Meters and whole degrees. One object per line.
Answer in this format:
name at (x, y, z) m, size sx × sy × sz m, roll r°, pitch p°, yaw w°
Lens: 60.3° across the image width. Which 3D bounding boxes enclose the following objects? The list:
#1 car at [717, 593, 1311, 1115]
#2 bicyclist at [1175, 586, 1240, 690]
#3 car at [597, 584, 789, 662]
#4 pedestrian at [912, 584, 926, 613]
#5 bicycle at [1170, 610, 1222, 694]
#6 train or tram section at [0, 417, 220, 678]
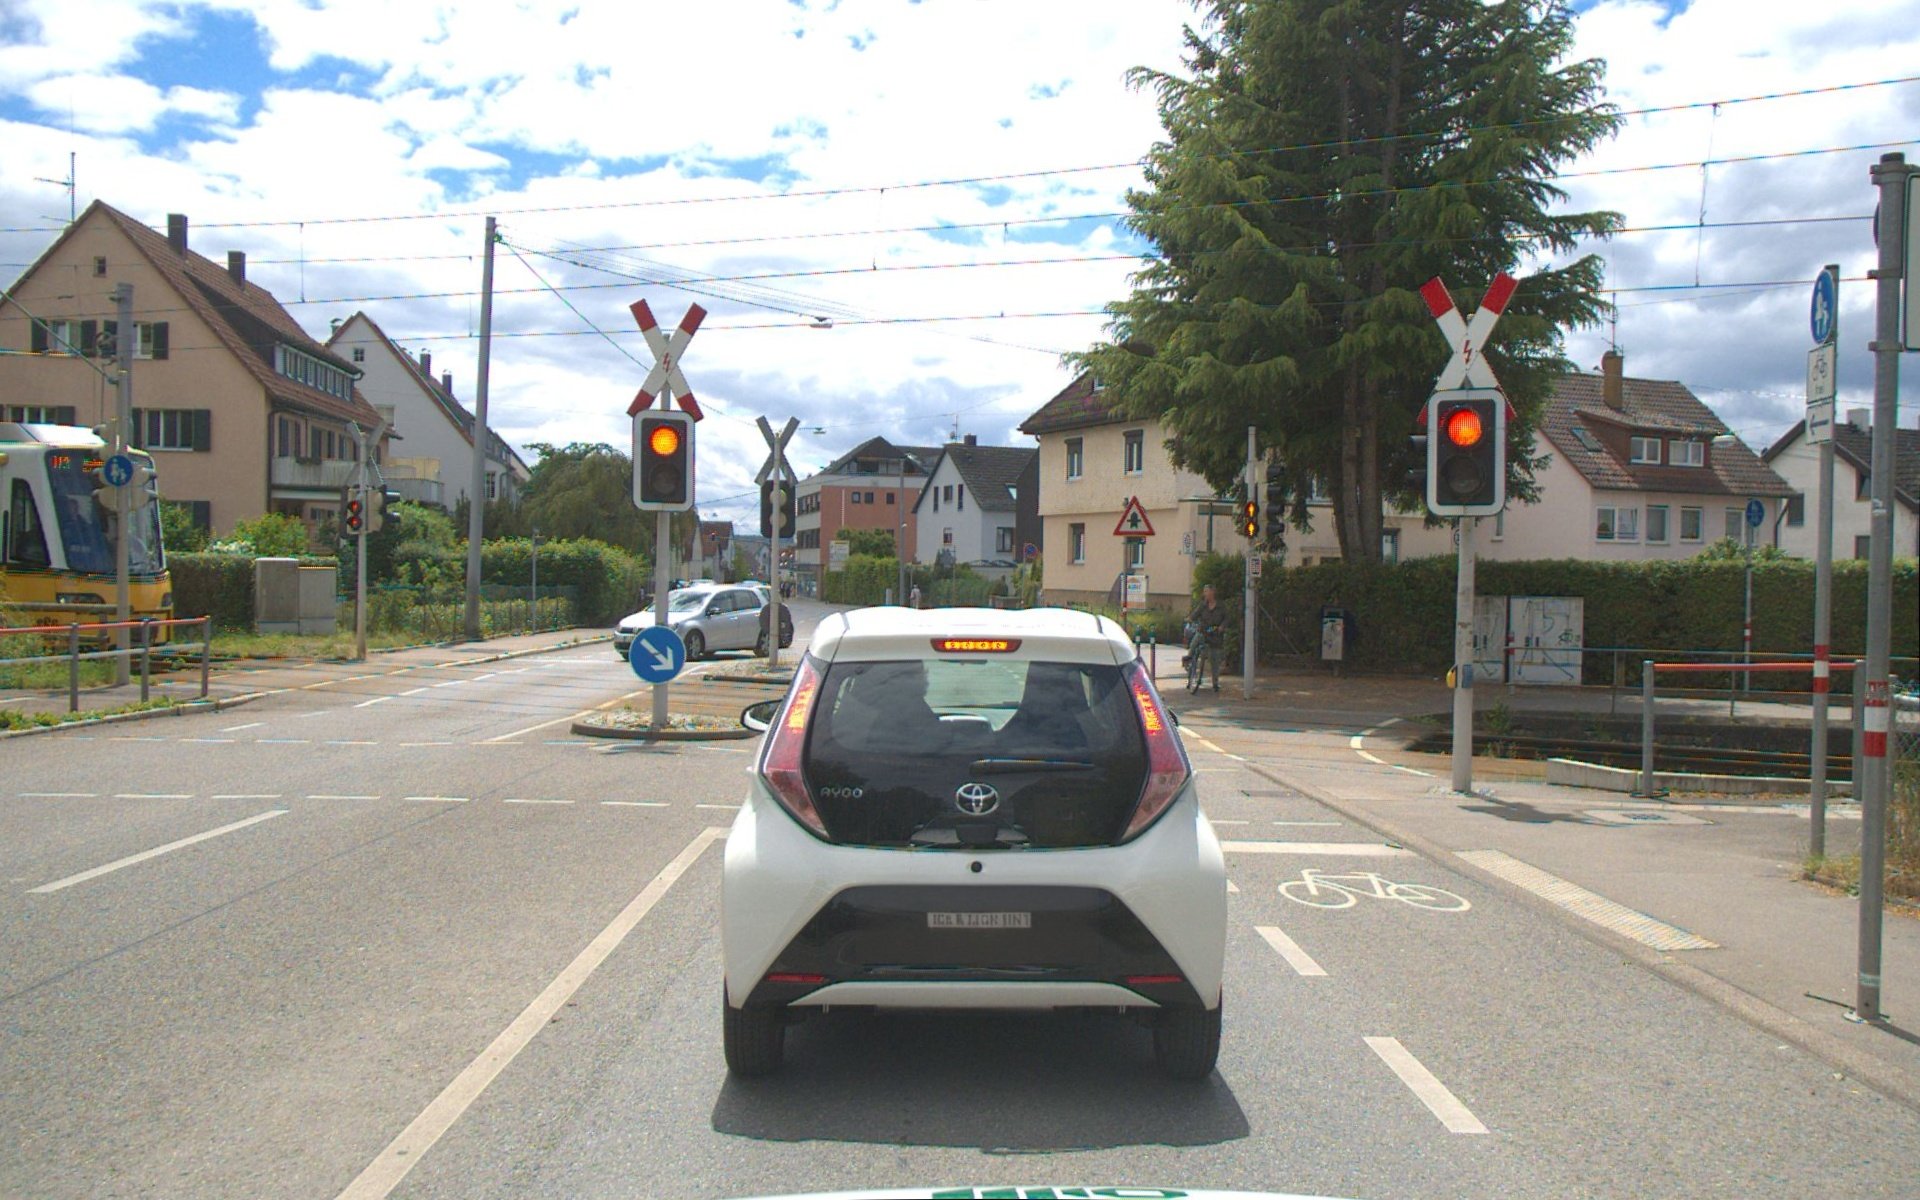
car at (0.037, 0.722, 6.579) m, size 1.687 × 1.467 × 3.705 m, roll 1°, pitch 0°, yaw -4°
bicyclist at (3.930, 0.597, 26.345) m, size 0.825 × 1.580 × 0.755 m, roll -2°, pitch 3°, yaw -7°
car at (-5.490, 0.466, 34.476) m, size 1.868 × 1.466 × 4.093 m, roll 2°, pitch 0°, yaw 27°
pedestrian at (-2.350, -0.071, 94.389) m, size 0.711 × 1.604 × 0.803 m, roll 2°, pitch 0°, yaw -1°
bicycle at (3.729, 0.808, 26.219) m, size 0.448 × 1.192 × 1.477 m, roll -2°, pitch 3°, yaw -6°
train or tram section at (-21.088, -1.028, 28.798) m, size 18.670 × 3.769 × 2.919 m, roll 2°, pitch 1°, yaw 22°
